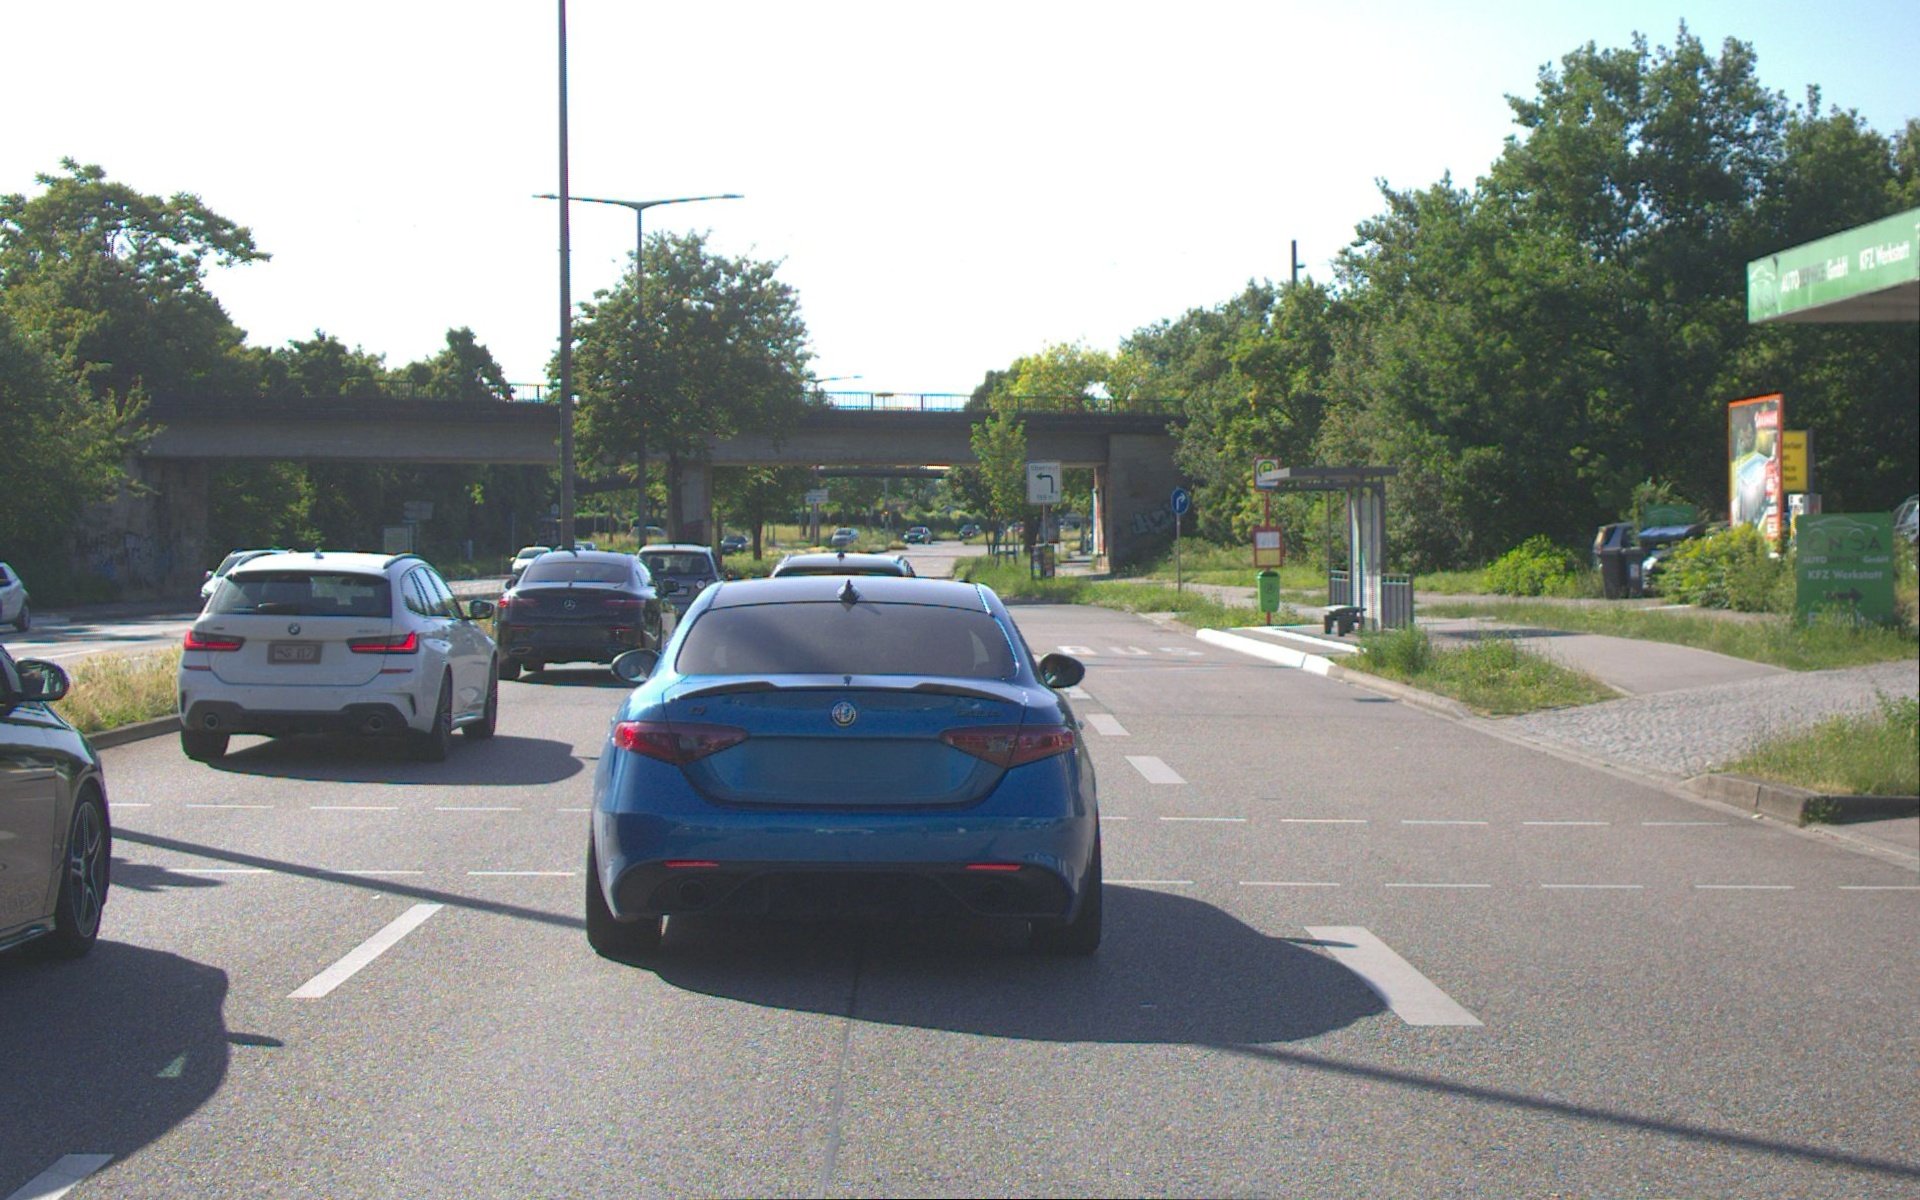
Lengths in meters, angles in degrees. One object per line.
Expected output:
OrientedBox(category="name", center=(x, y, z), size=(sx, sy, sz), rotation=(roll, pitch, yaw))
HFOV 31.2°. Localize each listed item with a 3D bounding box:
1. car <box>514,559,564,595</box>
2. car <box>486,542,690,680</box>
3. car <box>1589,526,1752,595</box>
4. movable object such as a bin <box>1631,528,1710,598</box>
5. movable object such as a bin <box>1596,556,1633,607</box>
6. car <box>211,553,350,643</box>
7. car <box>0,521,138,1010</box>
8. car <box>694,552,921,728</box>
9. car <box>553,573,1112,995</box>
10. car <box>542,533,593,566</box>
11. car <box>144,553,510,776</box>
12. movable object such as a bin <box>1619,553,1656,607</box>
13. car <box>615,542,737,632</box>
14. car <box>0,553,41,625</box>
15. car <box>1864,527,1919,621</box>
OrientedBox(category="car", center=(-18.022, -1.001, 147.384), size=(1.641, 1.446, 4.112), rotation=(-2, 1, -1))
OrientedBox(category="car", center=(-4.179, 0.094, 39.243), size=(1.883, 1.449, 4.526), rotation=(1, 1, -1))
OrientedBox(category="car", center=(15.864, -0.884, 76.869), size=(3.284, 1.481, 1.772), rotation=(1, 0, 1))
OrientedBox(category="movable object such as a bin", center=(14.674, -0.766, 70.996), size=(0.986, 1.423, 1.260), rotation=(-1, 1, -43))
OrientedBox(category="movable object such as a bin", center=(13.714, -0.394, 72.078), size=(0.580, 1.071, 0.510), rotation=(-1, 1, -42))
OrientedBox(category="car", center=(-13.179, -0.066, 66.871), size=(1.874, 1.636, 4.171), rotation=(-2, 1, -1))
OrientedBox(category="car", center=(-3.966, 0.529, 10.968), size=(1.708, 1.592, 4.224), rotation=(1, 1, -1))
OrientedBox(category="car", center=(-1.318, 0.312, 31.214), size=(1.883, 1.449, 4.526), rotation=(1, 1, -1))
OrientedBox(category="car", center=(-0.466, 0.613, 13.852), size=(1.883, 1.401, 4.224), rotation=(1, 1, -1))
OrientedBox(category="car", center=(-18.026, -2.306, 157.936), size=(1.817, 1.430, 4.631), rotation=(-2, 1, -1))
OrientedBox(category="car", center=(-4.507, 0.407, 25.124), size=(1.883, 1.449, 4.526), rotation=(1, 1, -1))
OrientedBox(category="movable object such as a bin", center=(14.130, -0.421, 71.722), size=(0.580, 1.117, 0.510), rotation=(-1, 1, -42))
OrientedBox(category="car", center=(-4.797, -0.242, 58.568), size=(1.779, 1.449, 4.182), rotation=(-1, 1, -1))
OrientedBox(category="car", center=(-20.734, -0.229, 71.761), size=(1.993, 1.469, 4.196), rotation=(-1, 1, -1))
OrientedBox(category="car", center=(16.945, -0.466, 58.986), size=(1.744, 1.567, 4.249), rotation=(-1, 1, 0))
